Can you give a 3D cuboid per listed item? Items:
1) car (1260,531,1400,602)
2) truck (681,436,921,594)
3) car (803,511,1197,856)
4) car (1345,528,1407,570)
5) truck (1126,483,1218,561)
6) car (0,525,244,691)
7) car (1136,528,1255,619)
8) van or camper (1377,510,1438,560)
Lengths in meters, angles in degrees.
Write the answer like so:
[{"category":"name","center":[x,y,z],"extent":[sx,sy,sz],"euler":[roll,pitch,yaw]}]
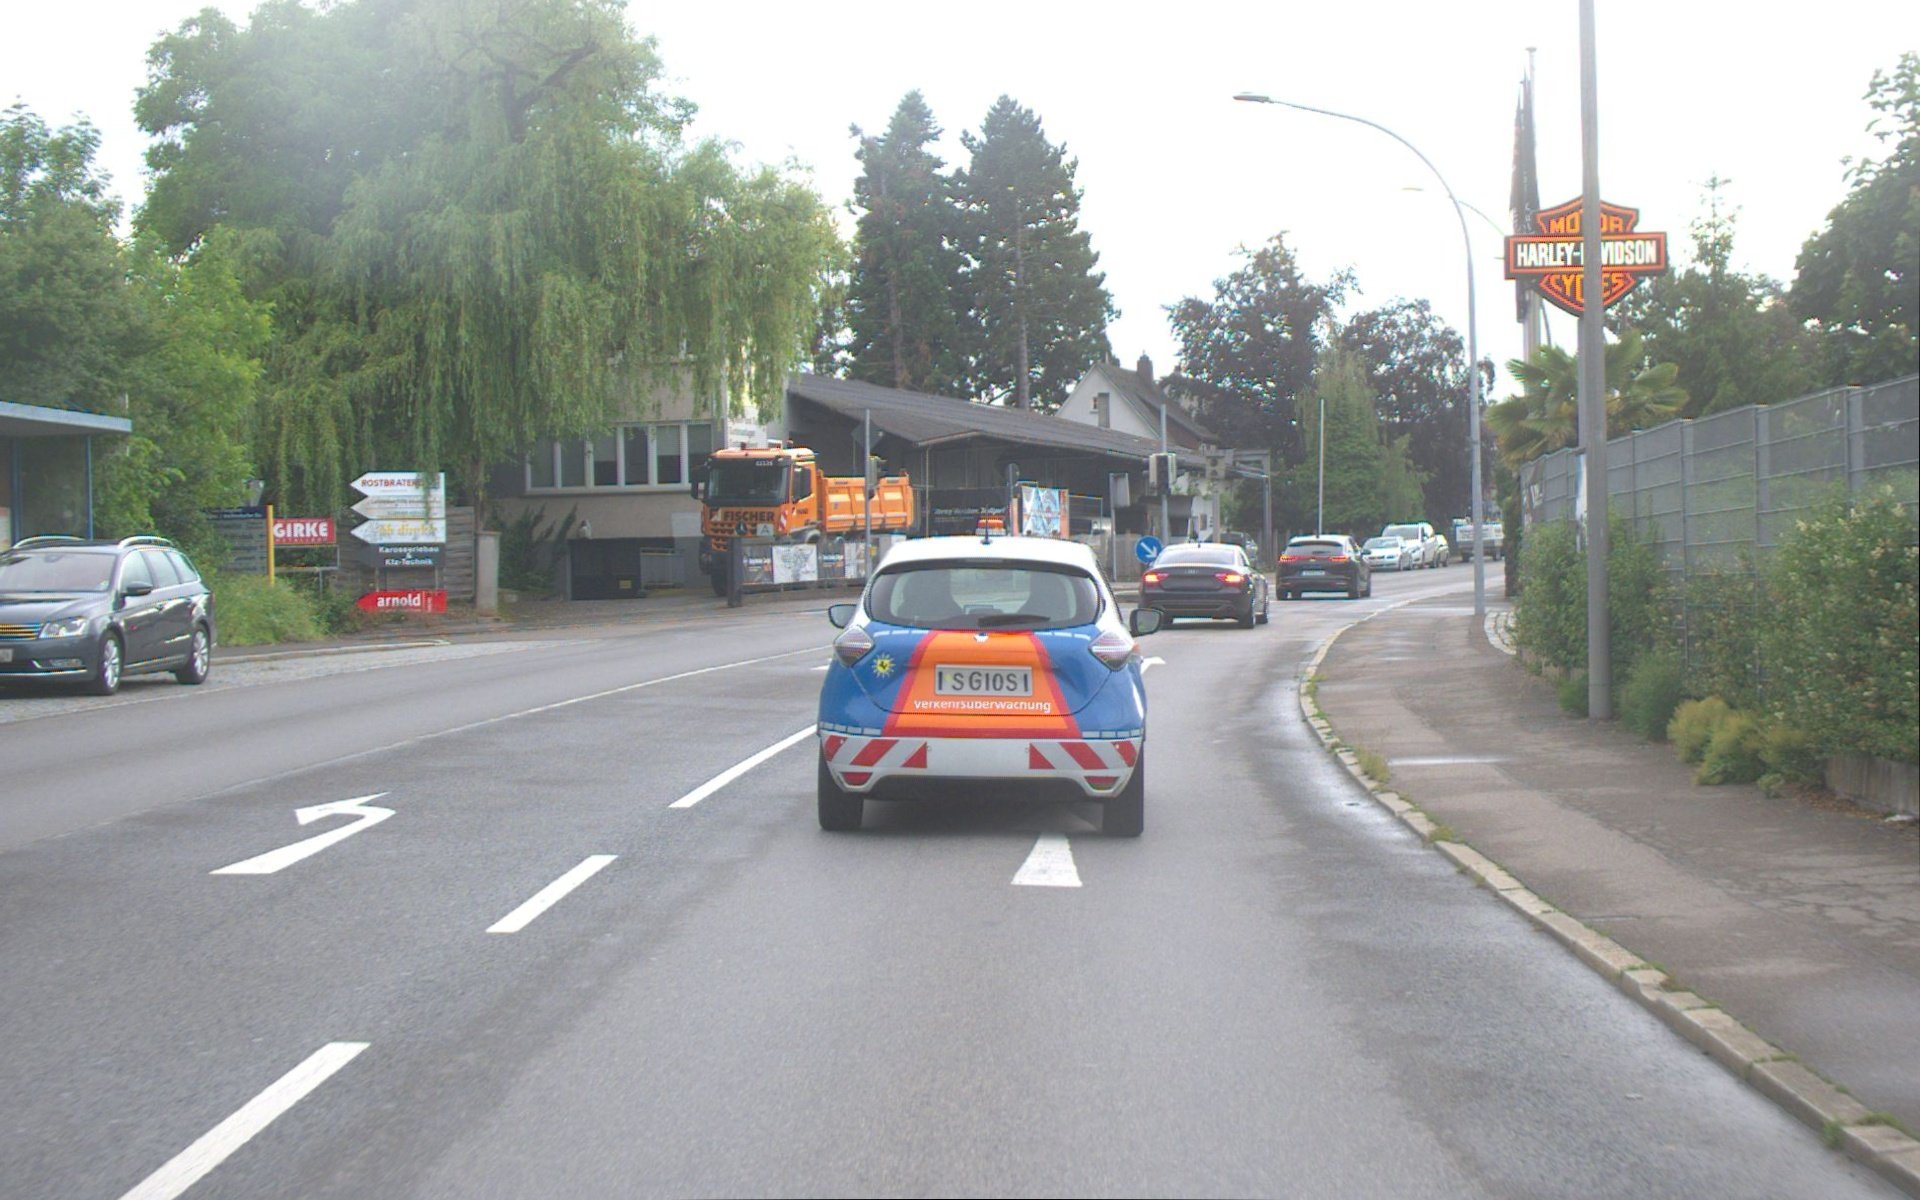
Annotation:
[{"category":"car","center":[8.154,-0.718,75.475],"extent":[1.996,1.415,3.995],"euler":[2,0,22]},{"category":"truck","center":[-3.698,-1.965,82.853],"extent":[2.700,3.400,9.063],"euler":[2,0,18]},{"category":"car","center":[0.246,0.384,19.268],"extent":[1.889,1.626,4.000],"euler":[3,1,1]},{"category":"car","center":[16.535,-2.046,136.596],"extent":[1.995,1.639,3.998],"euler":[0,1,13]},{"category":"truck","center":[8.379,-3.052,135.475],"extent":[2.396,2.917,5.953],"euler":[2,1,15]},{"category":"car","center":[-8.630,0.073,33.326],"extent":[1.994,1.469,4.699],"euler":[2,0,5]},{"category":"car","center":[3.804,-0.409,56.108],"extent":[1.720,1.371,3.933],"euler":[2,0,1]},{"category":"van or camper","center":[18.597,-2.709,142.806],"extent":[1.892,2.007,5.094],"euler":[0,1,15]}]
